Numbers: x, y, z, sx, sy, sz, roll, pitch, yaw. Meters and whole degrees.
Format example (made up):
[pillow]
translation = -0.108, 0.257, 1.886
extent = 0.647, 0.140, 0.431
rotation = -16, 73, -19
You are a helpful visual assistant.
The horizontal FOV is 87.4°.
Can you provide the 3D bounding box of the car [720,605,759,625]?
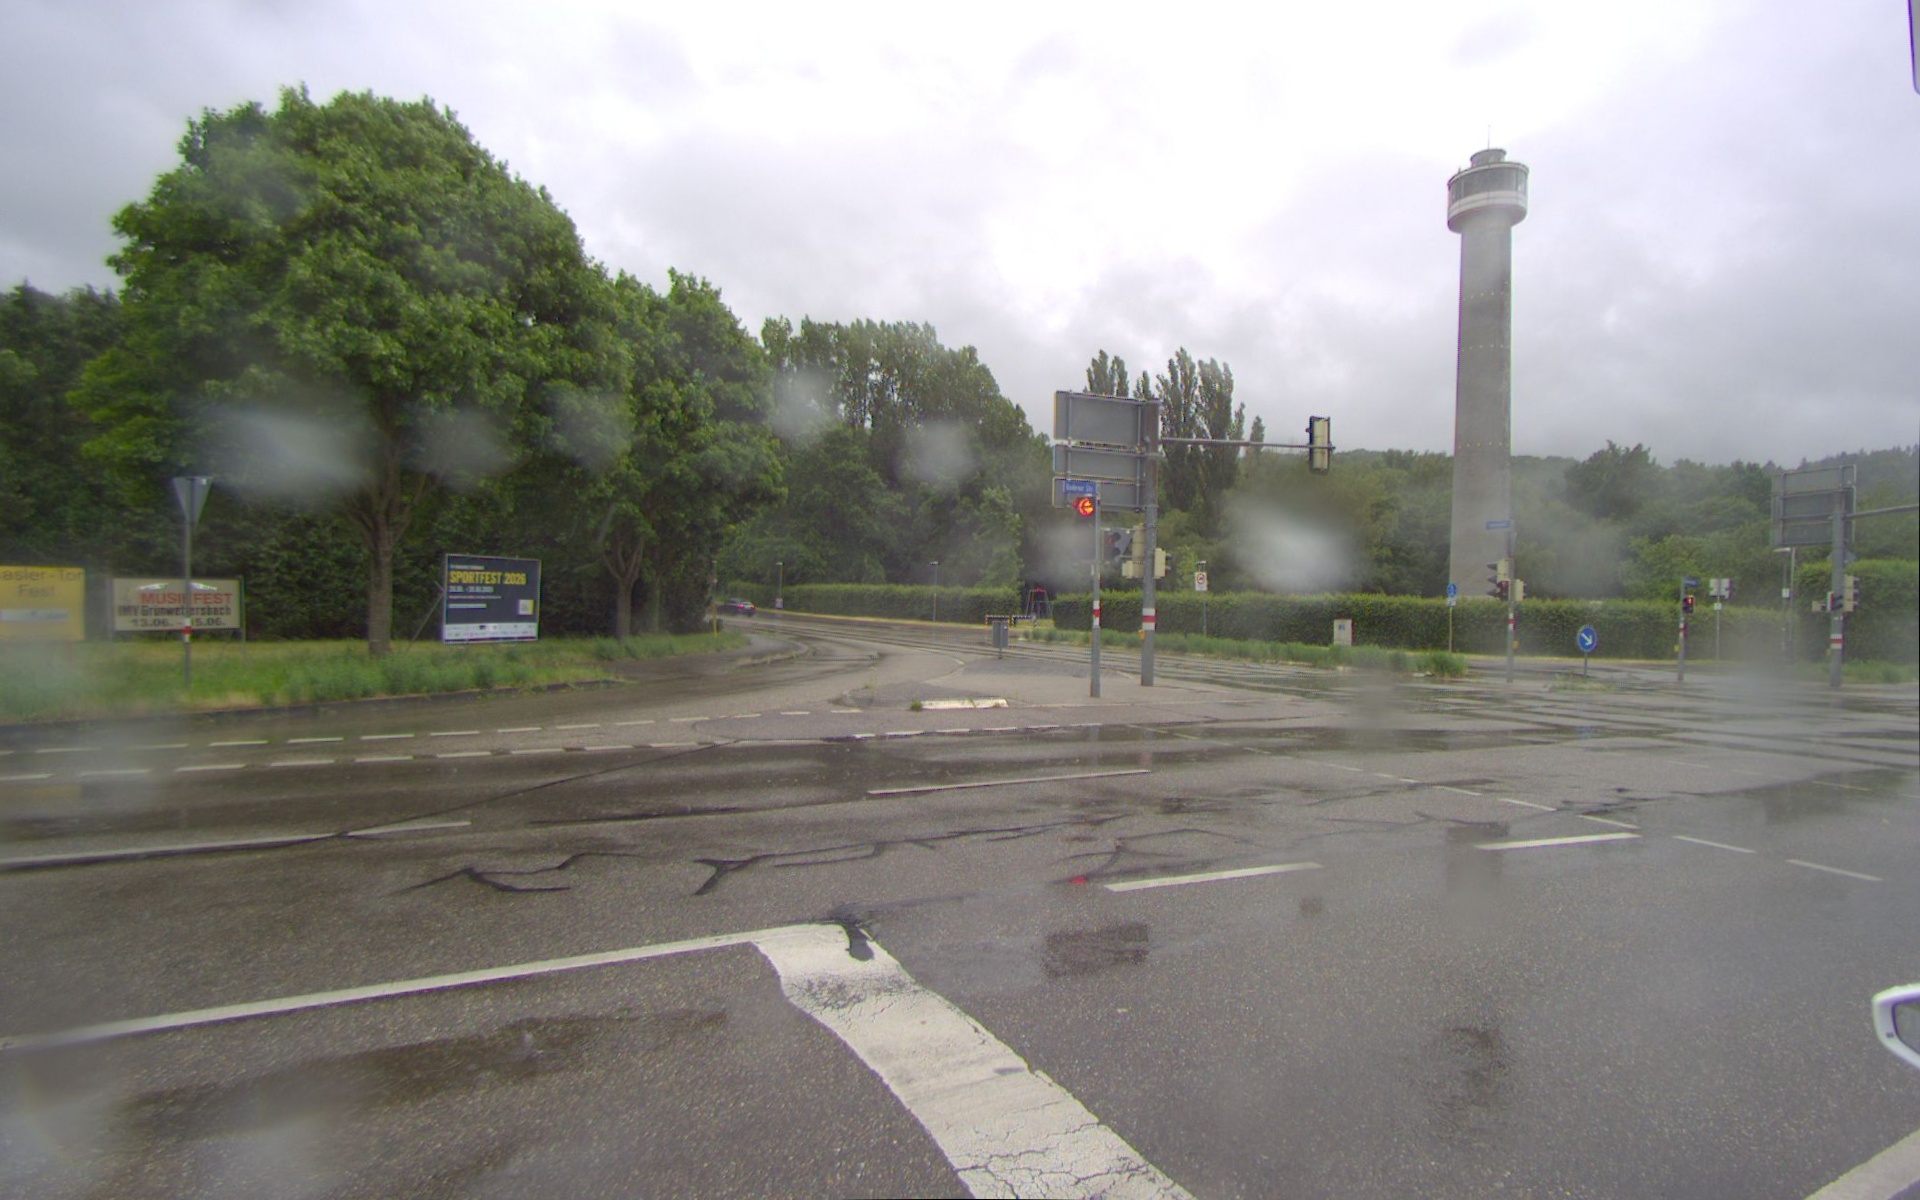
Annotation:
[car]
translation = -18.437, 1.231, 83.837
extent = 1.744, 1.606, 4.079
rotation = 1, -1, -35
